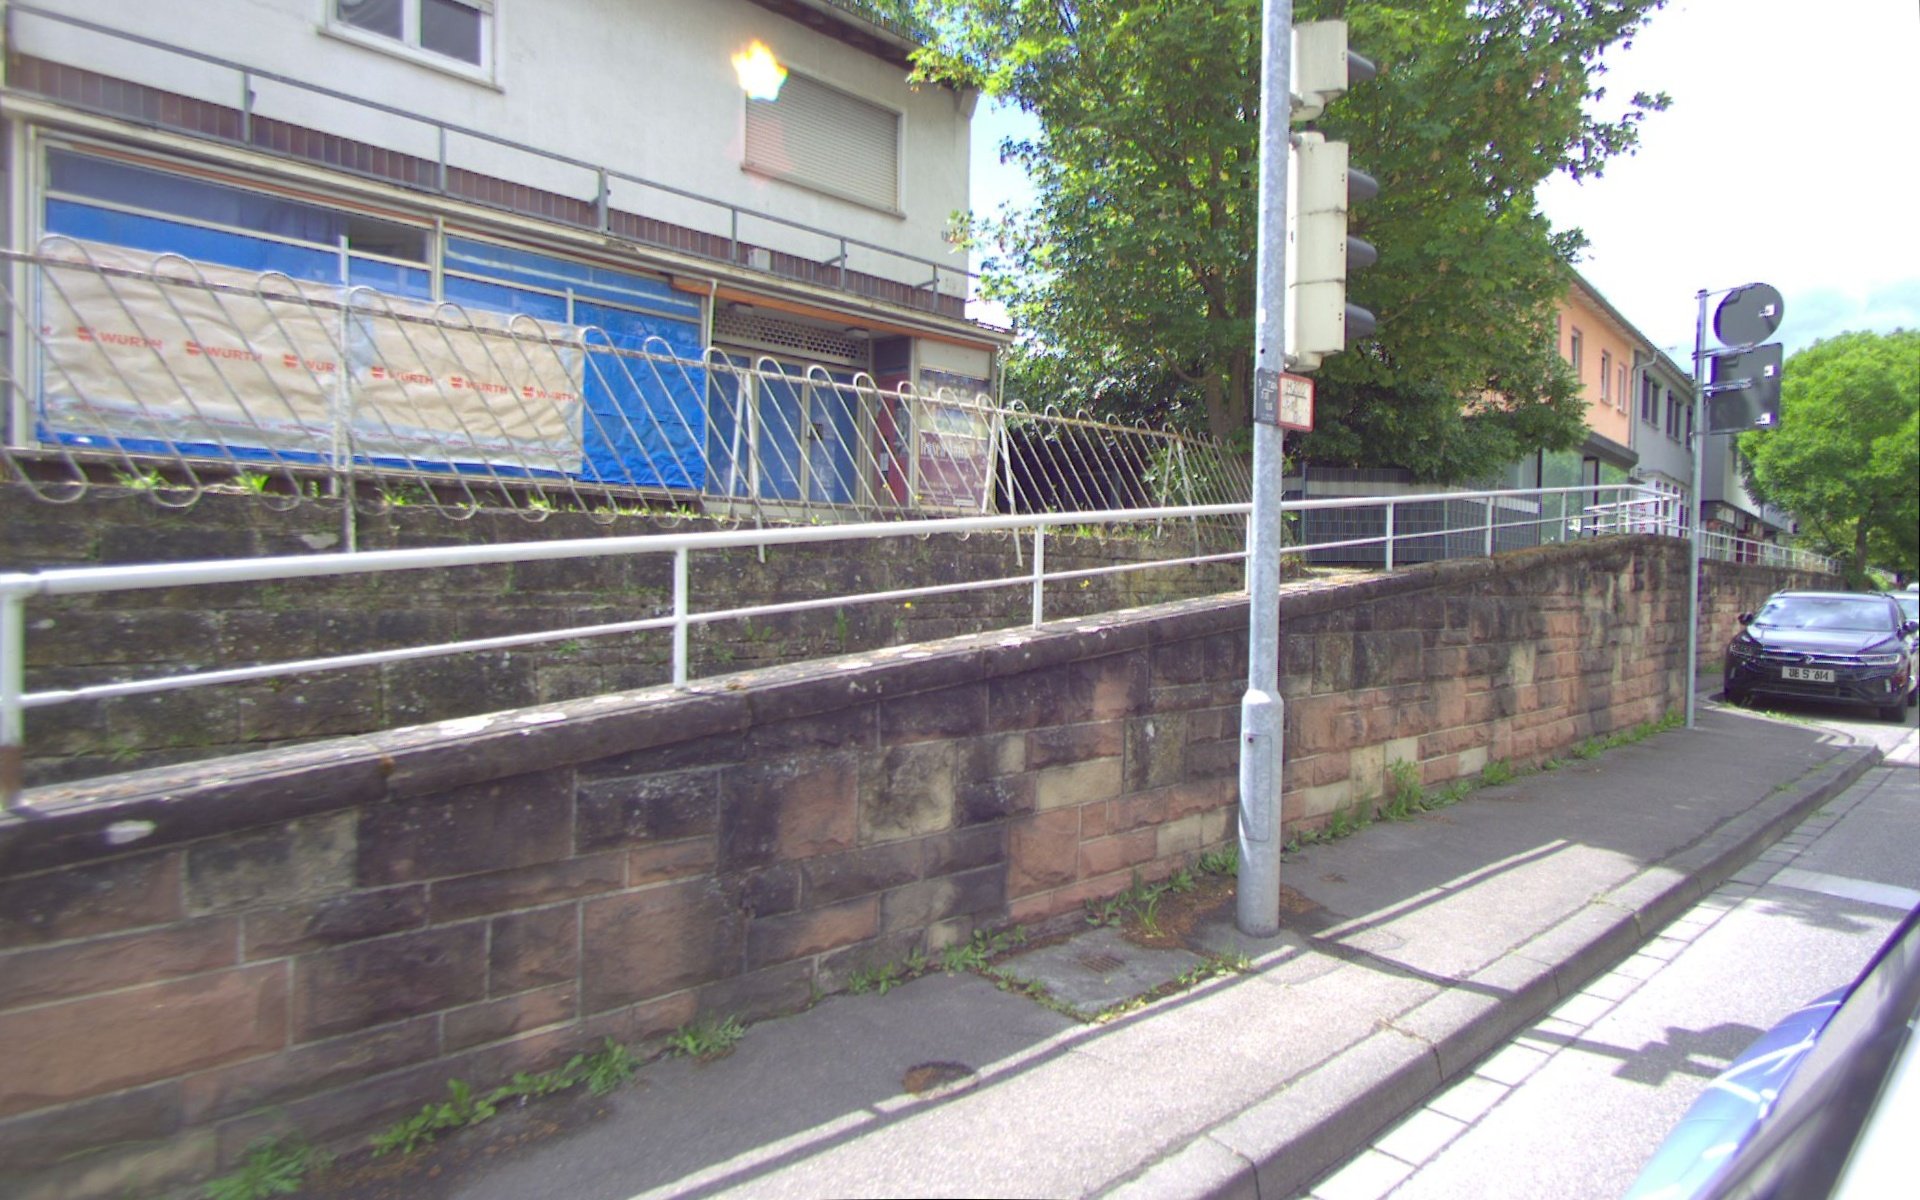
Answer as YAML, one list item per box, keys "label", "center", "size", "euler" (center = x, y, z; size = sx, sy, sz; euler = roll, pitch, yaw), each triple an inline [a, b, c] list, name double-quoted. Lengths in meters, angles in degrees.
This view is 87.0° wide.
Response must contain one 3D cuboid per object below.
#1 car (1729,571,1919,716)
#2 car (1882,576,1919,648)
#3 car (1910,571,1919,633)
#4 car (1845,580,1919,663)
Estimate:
- label: "car"
  center: [11.688, 0.452, 13.390]
  size: [3.955, 1.599, 1.757]
  euler: [-1, 3, -43]
- label: "car"
  center: [24.923, 0.277, 25.813]
  size: [3.933, 1.737, 1.757]
  euler: [-1, 3, -43]
- label: "car"
  center: [33.483, 0.072, 34.071]
  size: [4.887, 2.033, 1.851]
  euler: [-1, 3, -43]
- label: "car"
  center: [20.393, 0.428, 21.651]
  size: [4.105, 1.587, 1.758]
  euler: [0, 3, -43]
